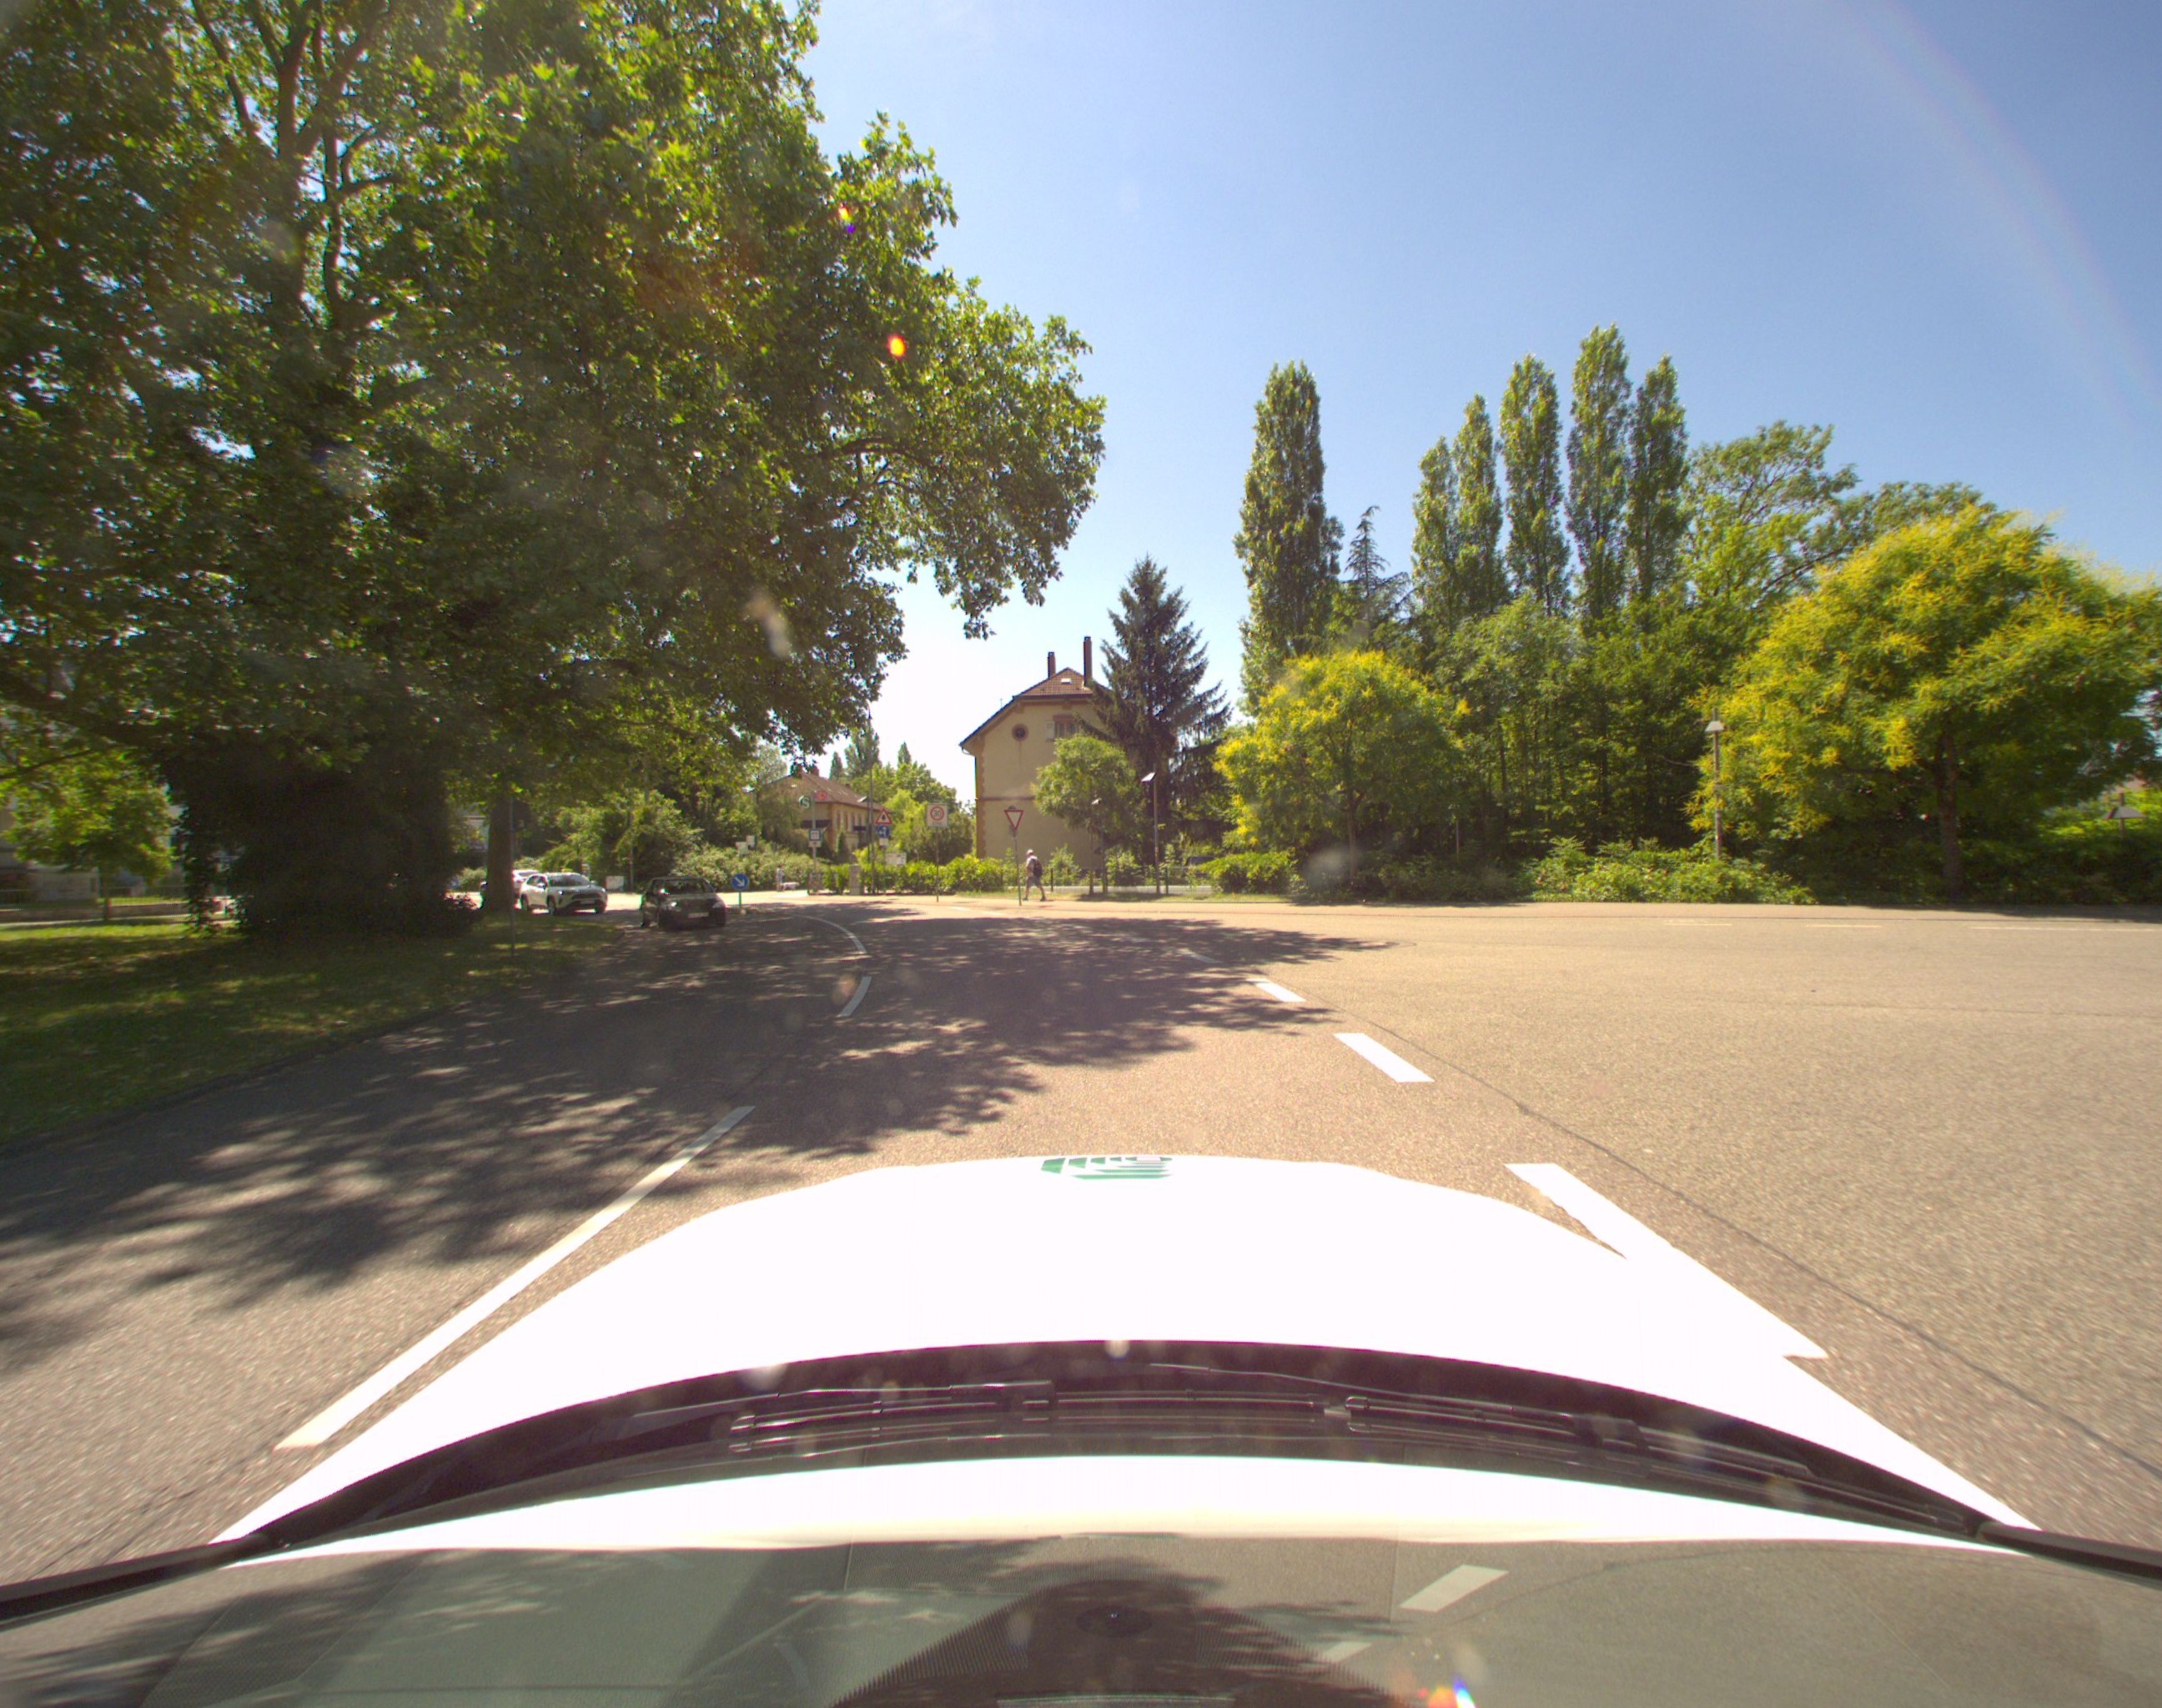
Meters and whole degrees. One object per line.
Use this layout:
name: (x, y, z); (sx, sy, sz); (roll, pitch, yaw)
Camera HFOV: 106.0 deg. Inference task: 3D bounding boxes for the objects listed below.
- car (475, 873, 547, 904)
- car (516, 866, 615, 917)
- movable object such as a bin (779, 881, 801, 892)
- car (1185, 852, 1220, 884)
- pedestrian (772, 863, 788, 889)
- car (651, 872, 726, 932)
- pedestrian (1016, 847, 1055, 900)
car: (-33.288, 2.046, 47.512); (4.413, 1.615, 1.954); (-3, -6, 35)
car: (-20.467, 1.466, 32.280); (4.267, 1.747, 2.062); (-2, 1, 40)
movable object such as a bin: (-17.852, 1.981, 50.004); (0.510, 0.594, 1.251); (-2, 0, 32)
car: (6.253, 0.704, 42.267); (1.641, 1.536, 3.977); (-1, -1, 7)
pedestrian: (-18.626, 1.358, 50.391); (0.691, 1.627, 0.621); (0, 0, 35)
car: (-10.869, 1.258, 22.773); (1.648, 1.417, 3.969); (-3, 0, -23)
pedestrian: (-1.592, 0.671, 28.399); (0.919, 1.771, 0.905); (-5, 2, -37)
